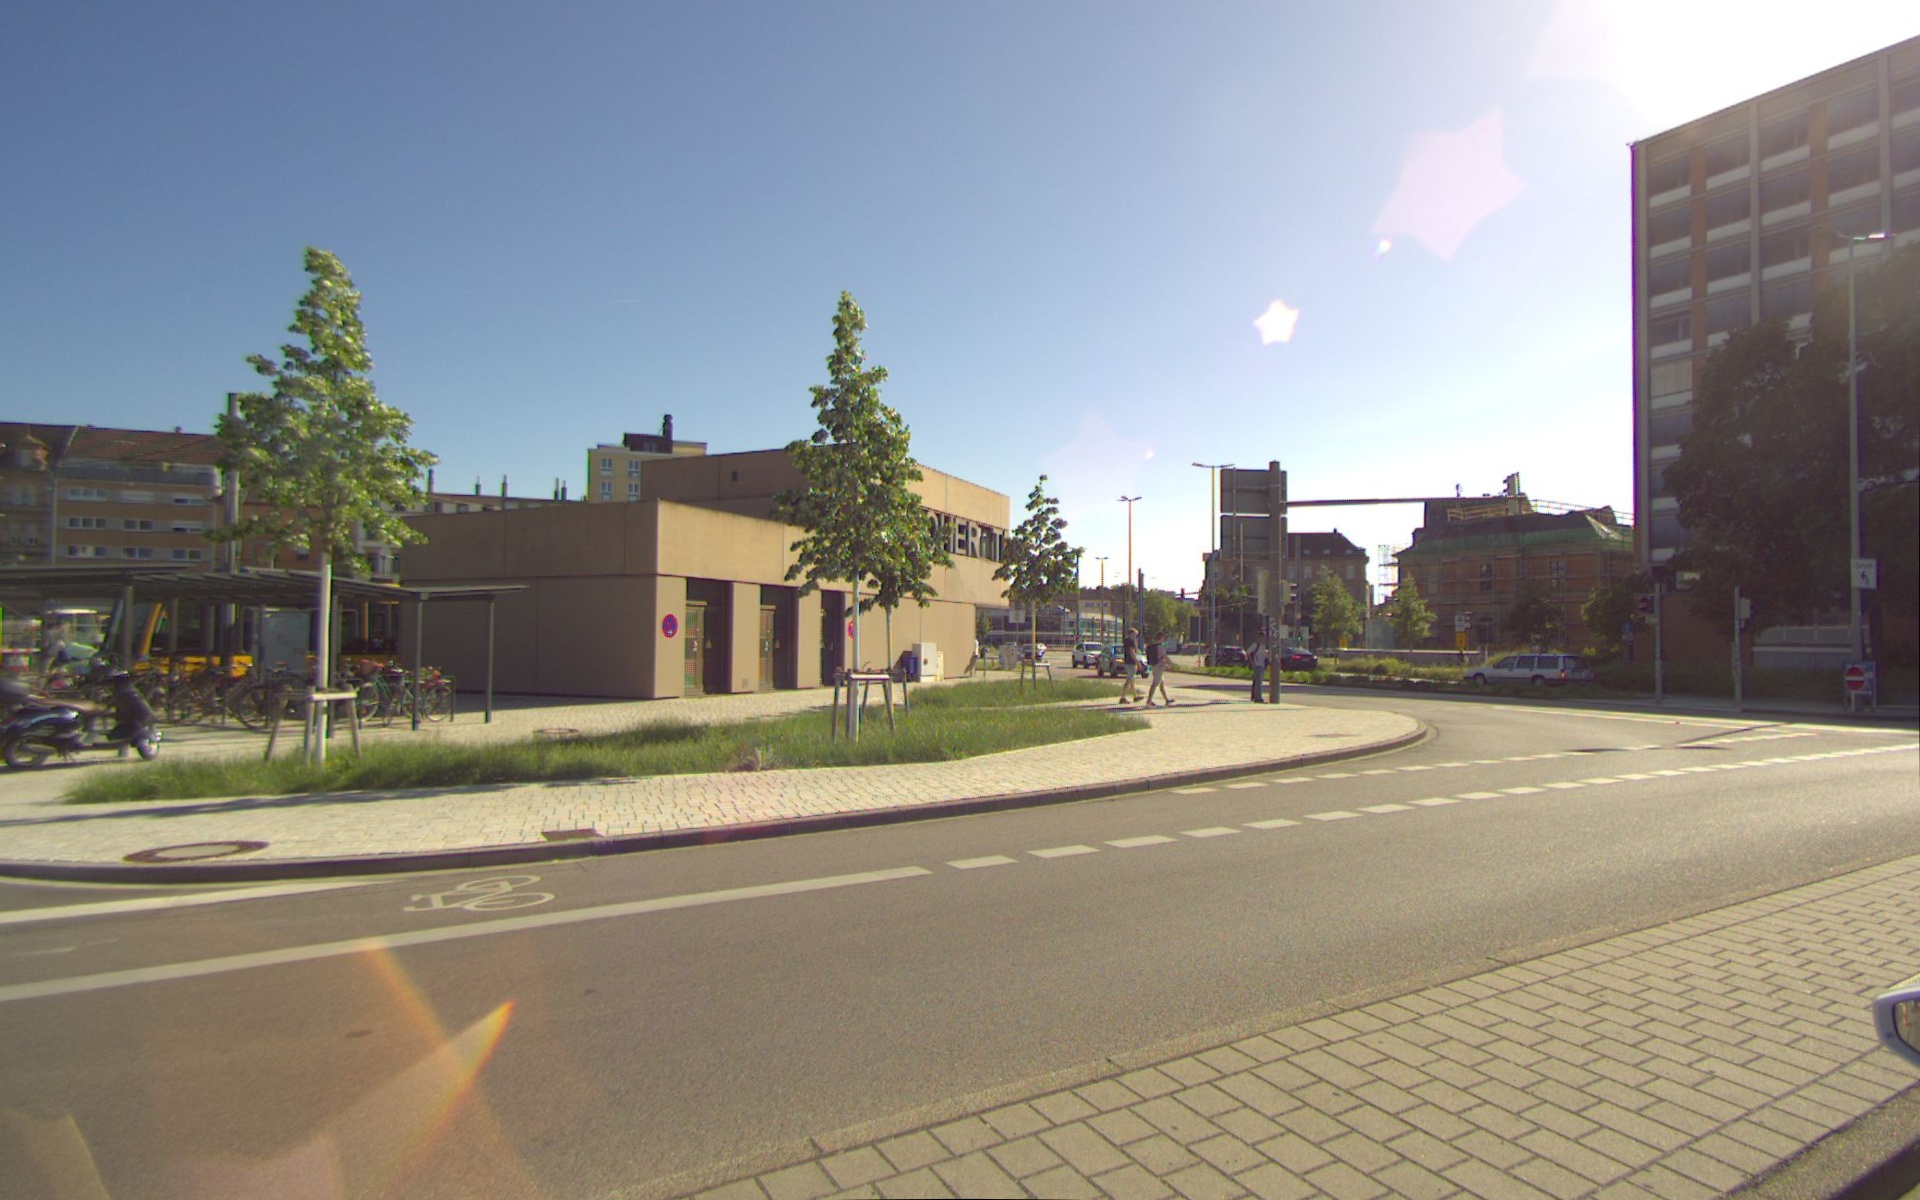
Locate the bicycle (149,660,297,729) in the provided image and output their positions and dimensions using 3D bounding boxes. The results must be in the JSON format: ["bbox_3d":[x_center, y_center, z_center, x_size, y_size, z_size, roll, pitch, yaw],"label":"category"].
[{"bbox_3d":[-12.891,1.628,17.657,0.524,1.051,2.070,2,0,26],"label":"bicycle"}]

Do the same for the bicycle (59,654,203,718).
[{"bbox_3d":[-15.895,1.622,19.320,0.524,1.051,2.070,5,1,26],"label":"bicycle"}]

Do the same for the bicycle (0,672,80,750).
[{"bbox_3d":[-13.223,1.542,13.813,0.399,0.985,1.683,2,0,22],"label":"bicycle"}]

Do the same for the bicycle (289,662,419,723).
[{"bbox_3d":[-11.756,1.765,19.572,0.679,1.011,2.140,2,0,26],"label":"bicycle"}]

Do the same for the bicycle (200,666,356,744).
[{"bbox_3d":[-10.896,1.648,16.134,0.524,1.051,2.070,2,0,26],"label":"bicycle"}]

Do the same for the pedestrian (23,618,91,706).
[{"bbox_3d":[-20.317,1.378,22.618,0.787,1.942,0.770,0,-2,8],"label":"pedestrian"}]

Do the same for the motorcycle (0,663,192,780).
[{"bbox_3d":[-10.841,1.446,12.476,0.558,1.235,2.087,0,-1,21],"label":"motorcycle"}]

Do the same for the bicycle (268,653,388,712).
[{"bbox_3d":[-12.735,1.646,20.328,0.524,1.051,2.070,2,0,26],"label":"bicycle"}]

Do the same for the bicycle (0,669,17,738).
[{"bbox_3d":[-14.710,1.540,14.425,0.399,0.985,1.683,2,0,22],"label":"bicycle"}]

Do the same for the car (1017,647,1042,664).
[{"bbox_3d":[6.247,5.046,90.992,1.784,1.524,4.785,-1,-3,-2],"label":"car"}]

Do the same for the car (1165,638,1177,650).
[{"bbox_3d":[35.735,7.396,170.310,1.959,2.040,4.003,0,-2,11],"label":"car"}]

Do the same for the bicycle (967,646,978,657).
[{"bbox_3d":[1.171,4.820,93.873,0.727,1.008,1.989,1,-4,-8],"label":"bicycle"}]

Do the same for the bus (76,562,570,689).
[{"bbox_3d":[-18.457,0.867,31.290,2.810,3.112,13.620,0,-2,25],"label":"bus"}]

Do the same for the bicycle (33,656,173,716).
[{"bbox_3d":[-16.876,1.676,19.849,0.524,1.051,2.070,-2,-2,26],"label":"bicycle"}]

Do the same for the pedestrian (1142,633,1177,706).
[{"bbox_3d":[4.767,1.667,24.005,0.773,1.711,0.796,0,-5,9],"label":"pedestrian"}]

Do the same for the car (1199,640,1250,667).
[{"bbox_3d":[17.188,3.465,65.488,1.809,1.653,4.384,1,-2,-6],"label":"car"}]

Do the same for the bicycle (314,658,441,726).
[{"bbox_3d":[-10.790,1.682,18.699,0.594,1.093,2.053,2,0,25],"label":"bicycle"}]

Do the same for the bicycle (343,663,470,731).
[{"bbox_3d":[-9.960,1.719,18.162,0.524,1.051,2.070,2,0,26],"label":"bicycle"}]

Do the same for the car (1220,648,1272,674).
[{"bbox_3d":[19.707,4.162,69.418,1.810,1.653,4.382,1,-2,-8],"label":"car"}]

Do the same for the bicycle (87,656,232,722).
[{"bbox_3d":[-15.009,1.639,18.906,0.524,1.051,2.070,5,1,26],"label":"bicycle"}]

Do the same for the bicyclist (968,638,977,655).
[{"bbox_3d":[1.191,4.331,93.904,0.727,1.519,1.071,1,-3,-8],"label":"bicyclist"}]

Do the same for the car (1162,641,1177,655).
[{"bbox_3d":[32.483,7.399,155.979,1.959,2.040,4.003,0,-2,7],"label":"car"}]

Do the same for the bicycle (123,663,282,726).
[{"bbox_3d":[-13.701,1.676,18.261,0.673,0.956,2.233,2,0,25],"label":"bicycle"}]

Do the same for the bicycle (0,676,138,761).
[{"bbox_3d":[-12.195,1.572,13.578,0.399,0.985,1.683,2,0,22],"label":"bicycle"}]

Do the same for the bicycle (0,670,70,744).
[{"bbox_3d":[-13.688,1.530,14.174,0.399,0.985,1.683,2,0,22],"label":"bicycle"}]

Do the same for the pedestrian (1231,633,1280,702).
[{"bbox_3d":[7.538,1.728,25.621,0.831,1.711,0.896,5,-5,-34],"label":"pedestrian"}]

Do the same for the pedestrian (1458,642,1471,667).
[{"bbox_3d":[33.395,3.625,66.501,0.636,1.637,0.548,0,-2,10],"label":"pedestrian"}]

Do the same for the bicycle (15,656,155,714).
[{"bbox_3d":[-17.764,1.696,20.457,0.524,1.051,2.070,5,0,26],"label":"bicycle"}]

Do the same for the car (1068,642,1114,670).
[{"bbox_3d":[8.379,3.629,64.497,1.810,1.640,4.699,3,-4,-7],"label":"car"}]

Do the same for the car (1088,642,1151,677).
[{"bbox_3d":[7.675,2.893,48.828,1.761,1.602,4.252,0,-3,-9],"label":"car"}]

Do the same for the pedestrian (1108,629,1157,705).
[{"bbox_3d":[4.249,1.658,24.784,1.081,1.822,0.705,1,-4,-2],"label":"pedestrian"}]

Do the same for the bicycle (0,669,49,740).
[{"bbox_3d":[-14.193,1.524,14.376,0.399,0.985,1.683,2,0,22],"label":"bicycle"}]

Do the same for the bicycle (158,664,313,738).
[{"bbox_3d":[-12.014,1.650,16.745,0.524,1.051,2.070,2,0,26],"label":"bicycle"}]

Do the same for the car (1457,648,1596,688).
[{"bbox_3d":[22.410,2.675,39.988,1.815,1.406,4.880,1,-2,-19],"label":"car"}]

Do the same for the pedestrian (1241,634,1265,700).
[{"bbox_3d":[7.899,1.805,27.079,0.585,1.751,0.580,0,-2,14],"label":"pedestrian"}]

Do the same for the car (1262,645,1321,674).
[{"bbox_3d":[20.711,3.702,62.899,1.810,1.653,4.382,1,-2,-8],"label":"car"}]

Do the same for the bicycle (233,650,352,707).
[{"bbox_3d":[-13.910,1.613,20.993,0.524,1.051,2.070,2,0,26],"label":"bicycle"}]
